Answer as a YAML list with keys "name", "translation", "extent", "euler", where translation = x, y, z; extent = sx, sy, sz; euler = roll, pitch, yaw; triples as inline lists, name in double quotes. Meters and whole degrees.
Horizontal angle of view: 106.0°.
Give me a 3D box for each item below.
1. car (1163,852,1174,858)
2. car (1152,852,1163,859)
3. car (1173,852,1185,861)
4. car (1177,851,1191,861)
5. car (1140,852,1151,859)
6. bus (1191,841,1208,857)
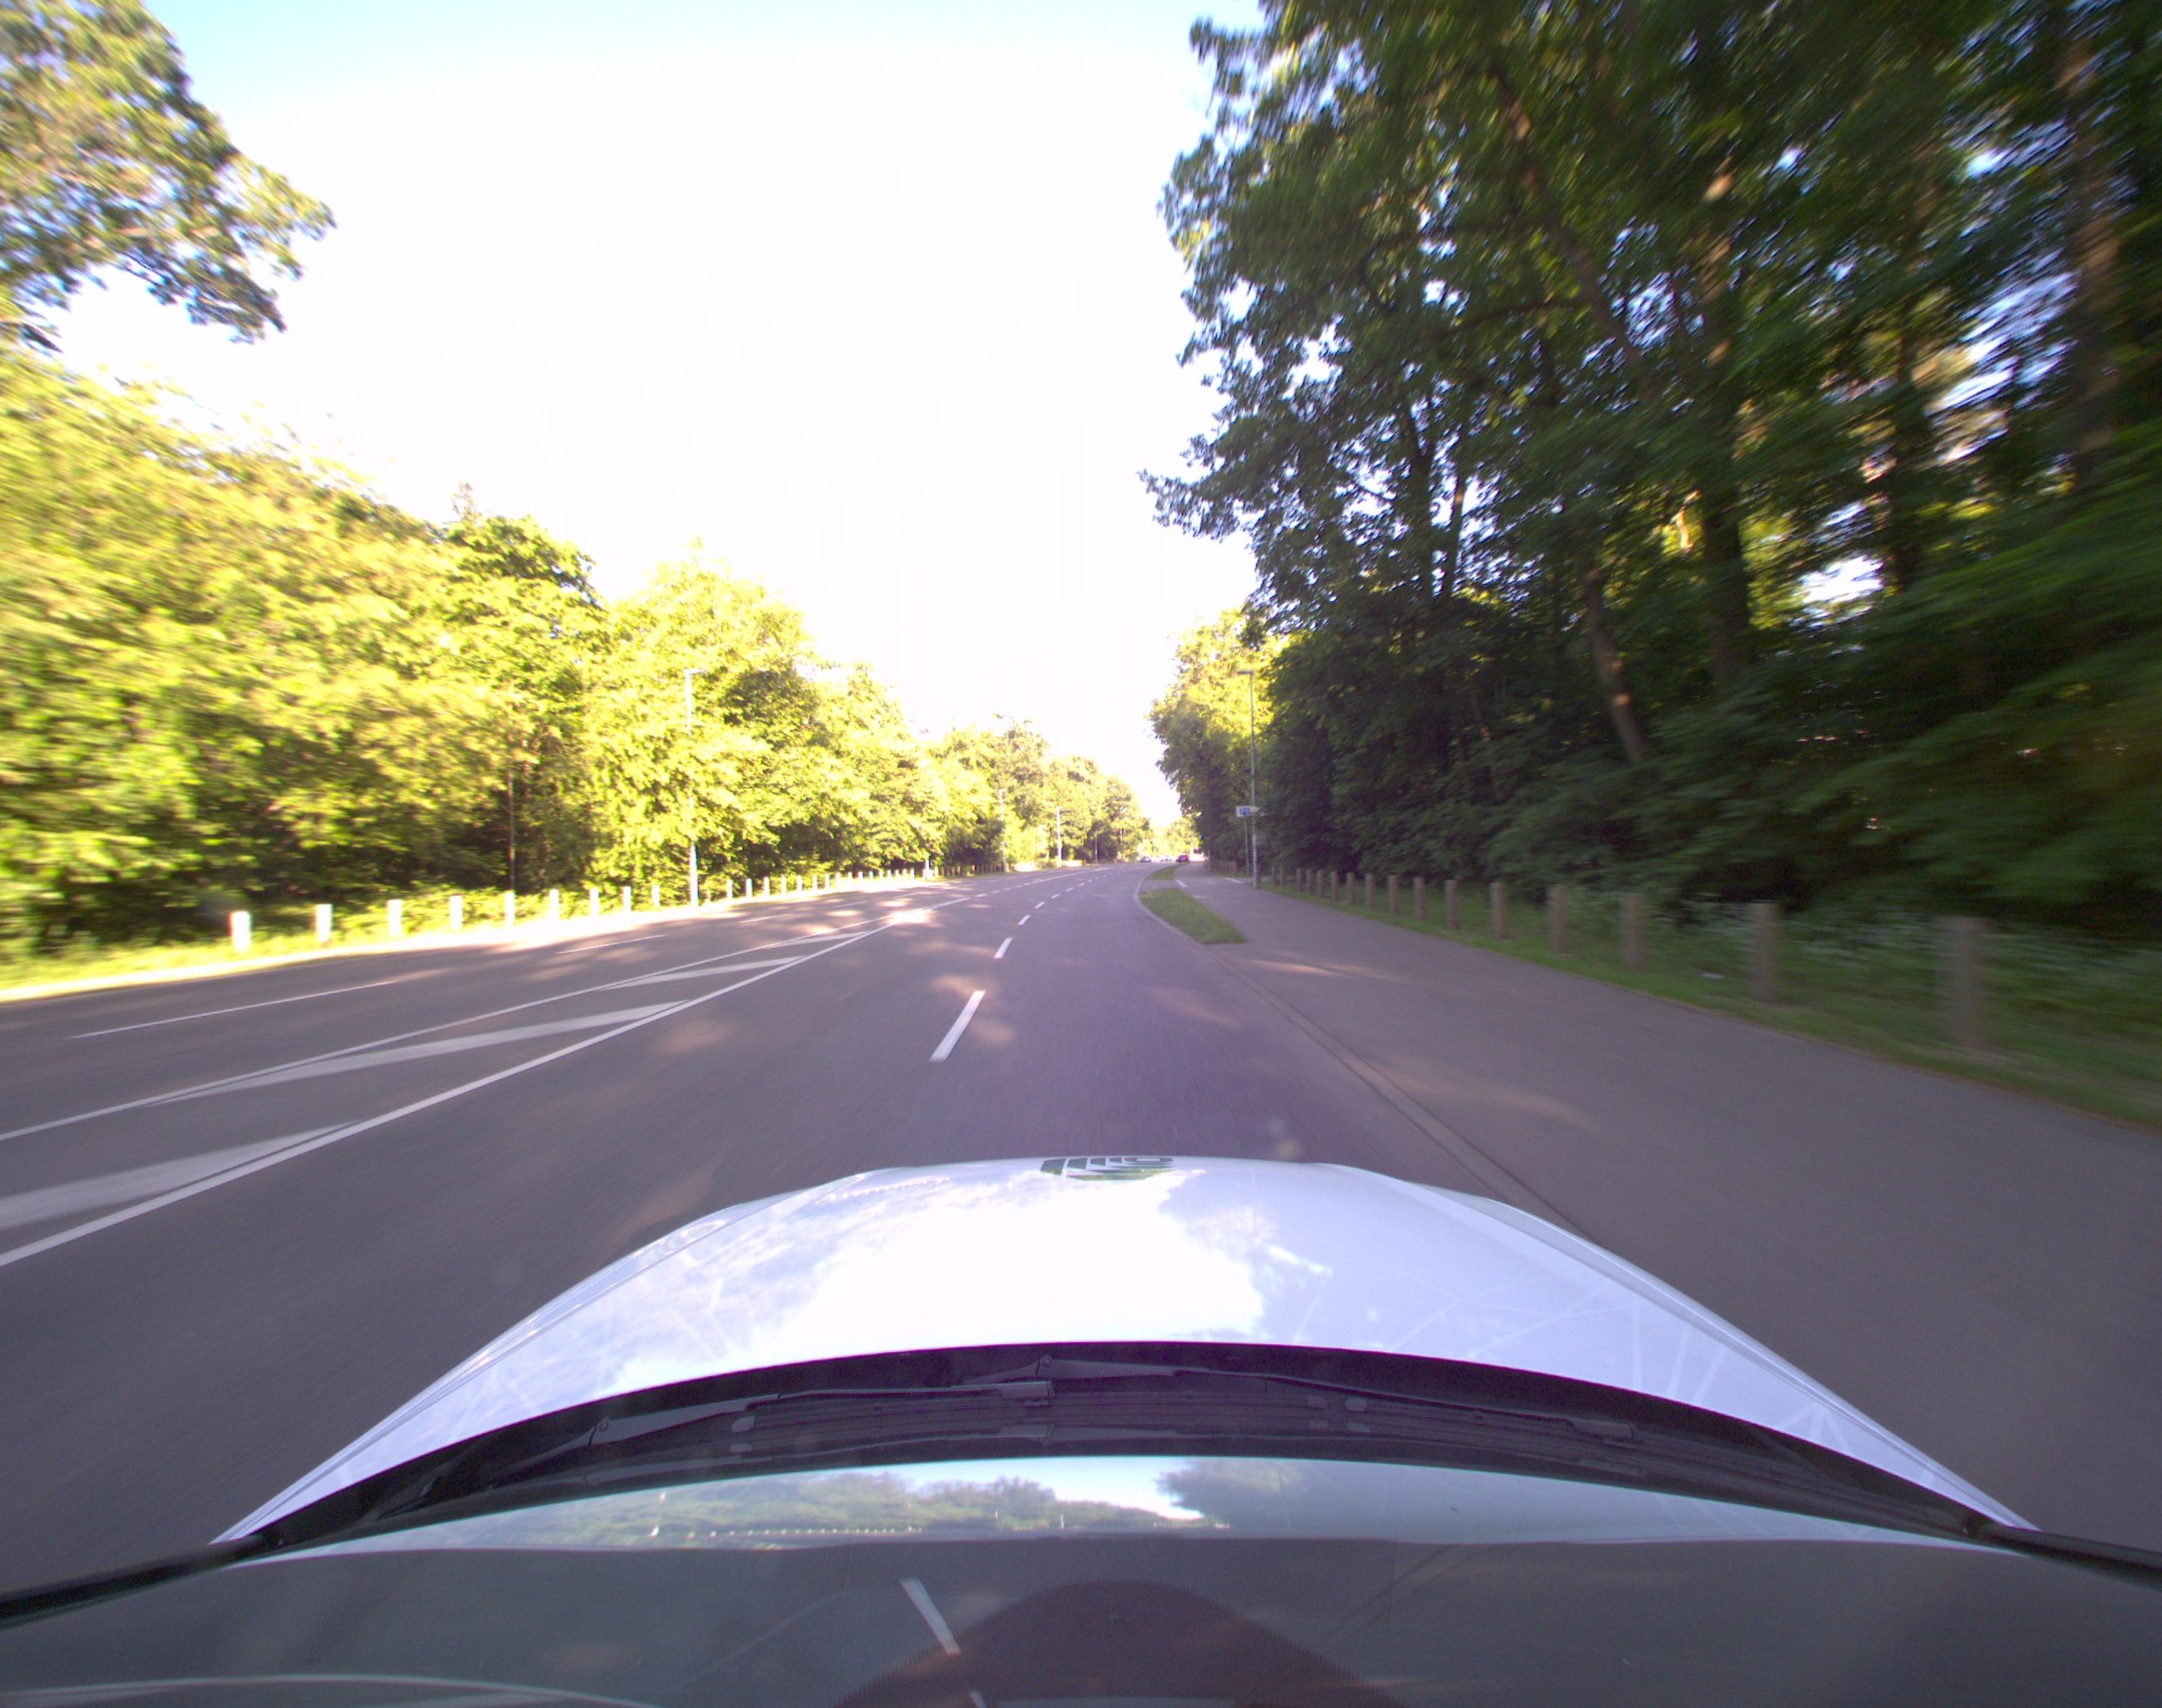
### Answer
- name: "car"
  translation: [22.120, 0.208, 206.060]
  extent: [1.769, 1.522, 4.418]
  euler: [-2, 0, 17]
- name: "car"
  translation: [17.660, 0.253, 188.415]
  extent: [1.766, 1.464, 4.291]
  euler: [-3, -1, 15]
- name: "car"
  translation: [20.187, 0.439, 167.538]
  extent: [1.866, 1.709, 4.017]
  euler: [-2, 0, 15]
- name: "car"
  translation: [19.416, 0.310, 153.420]
  extent: [1.866, 1.765, 4.017]
  euler: [-2, 0, 15]
- name: "car"
  translation: [13.401, 0.300, 169.095]
  extent: [1.767, 1.408, 4.181]
  euler: [-1, 1, 13]
- name: "bus"
  translation: [25.082, -1.068, 172.273]
  extent: [2.586, 3.368, 8.008]
  euler: [-1, 1, 15]
